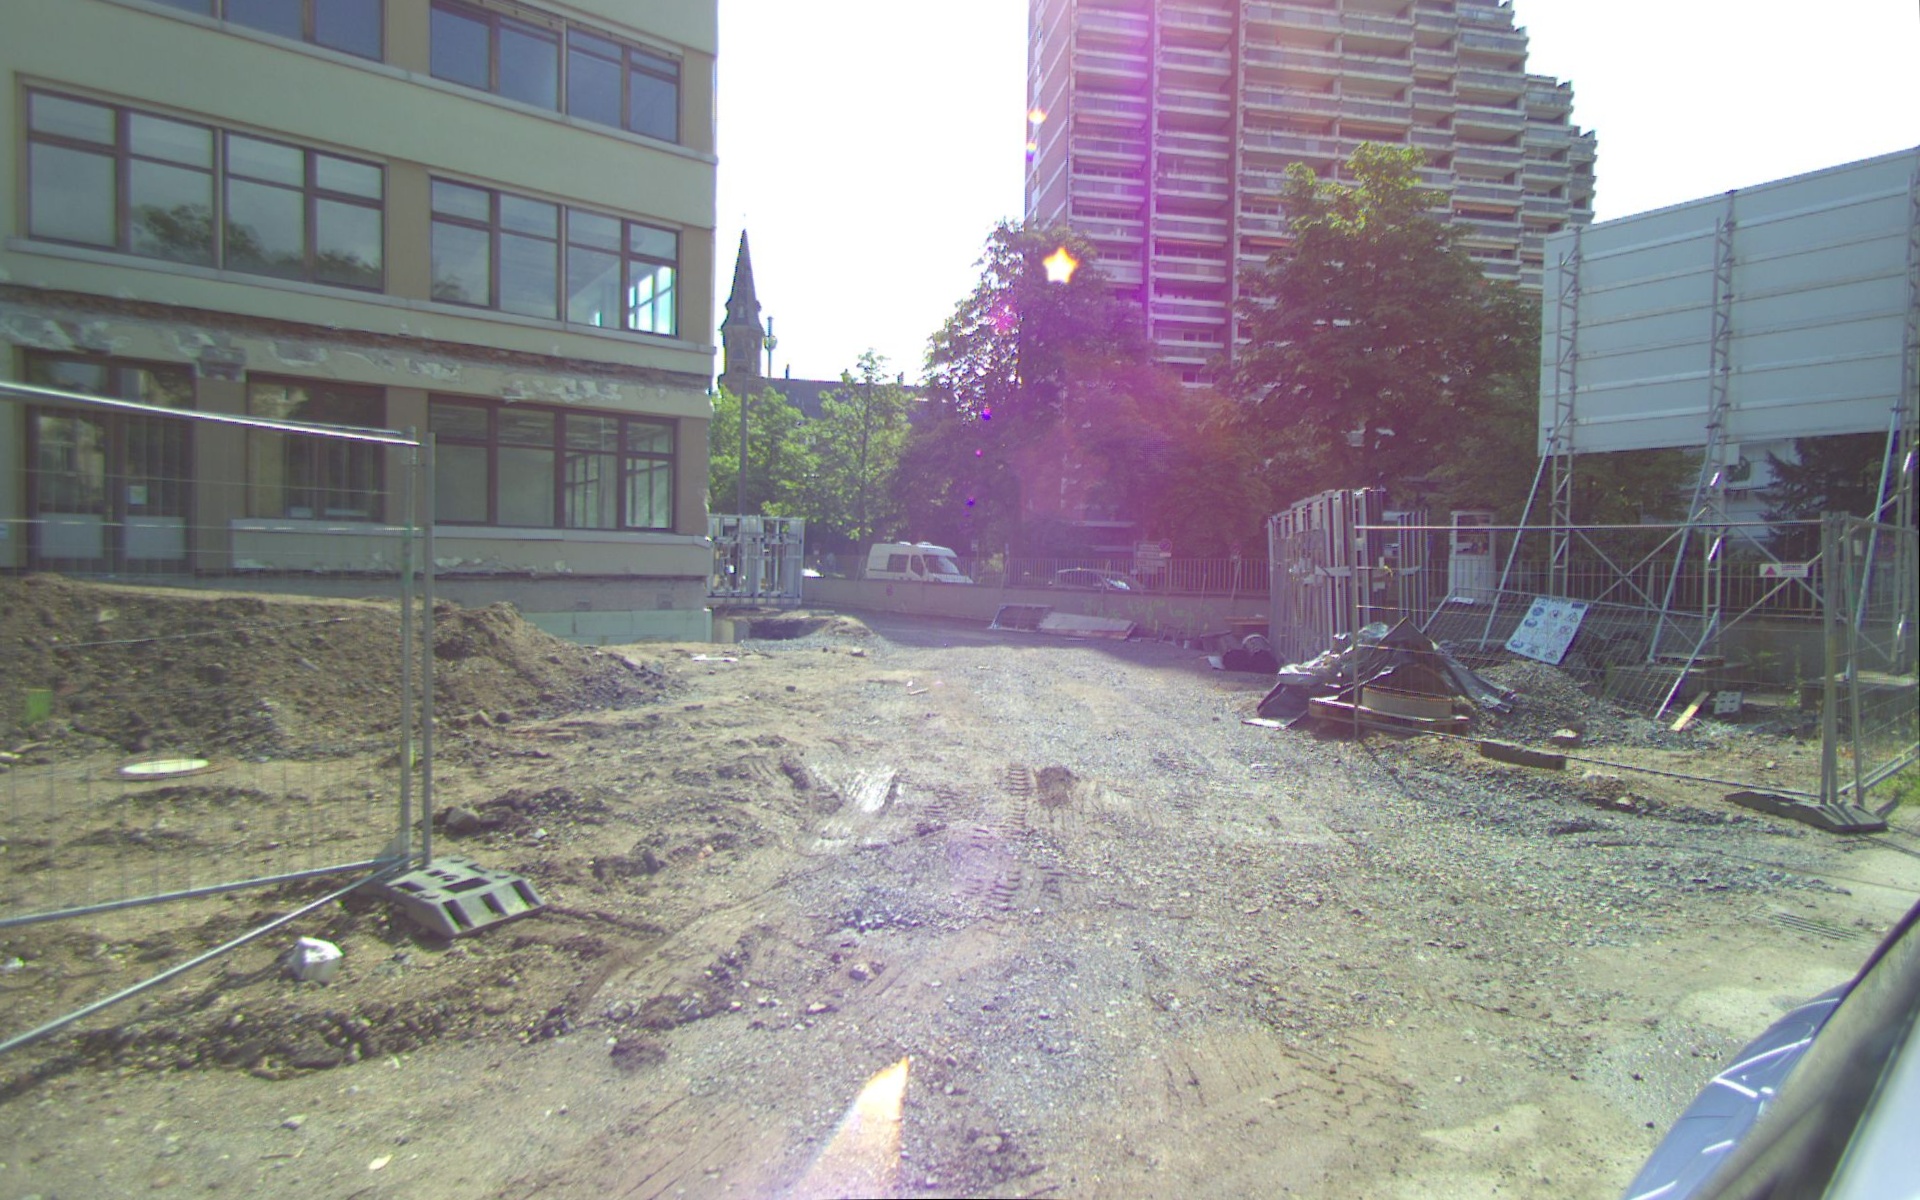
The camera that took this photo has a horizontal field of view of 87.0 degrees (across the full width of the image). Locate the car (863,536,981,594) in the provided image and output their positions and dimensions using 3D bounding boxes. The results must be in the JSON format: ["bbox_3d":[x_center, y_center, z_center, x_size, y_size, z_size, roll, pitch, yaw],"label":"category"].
[{"bbox_3d":[-1.535,-1.304,38.718,1.962,2.039,5.309,0,1,-35],"label":"car"}]
